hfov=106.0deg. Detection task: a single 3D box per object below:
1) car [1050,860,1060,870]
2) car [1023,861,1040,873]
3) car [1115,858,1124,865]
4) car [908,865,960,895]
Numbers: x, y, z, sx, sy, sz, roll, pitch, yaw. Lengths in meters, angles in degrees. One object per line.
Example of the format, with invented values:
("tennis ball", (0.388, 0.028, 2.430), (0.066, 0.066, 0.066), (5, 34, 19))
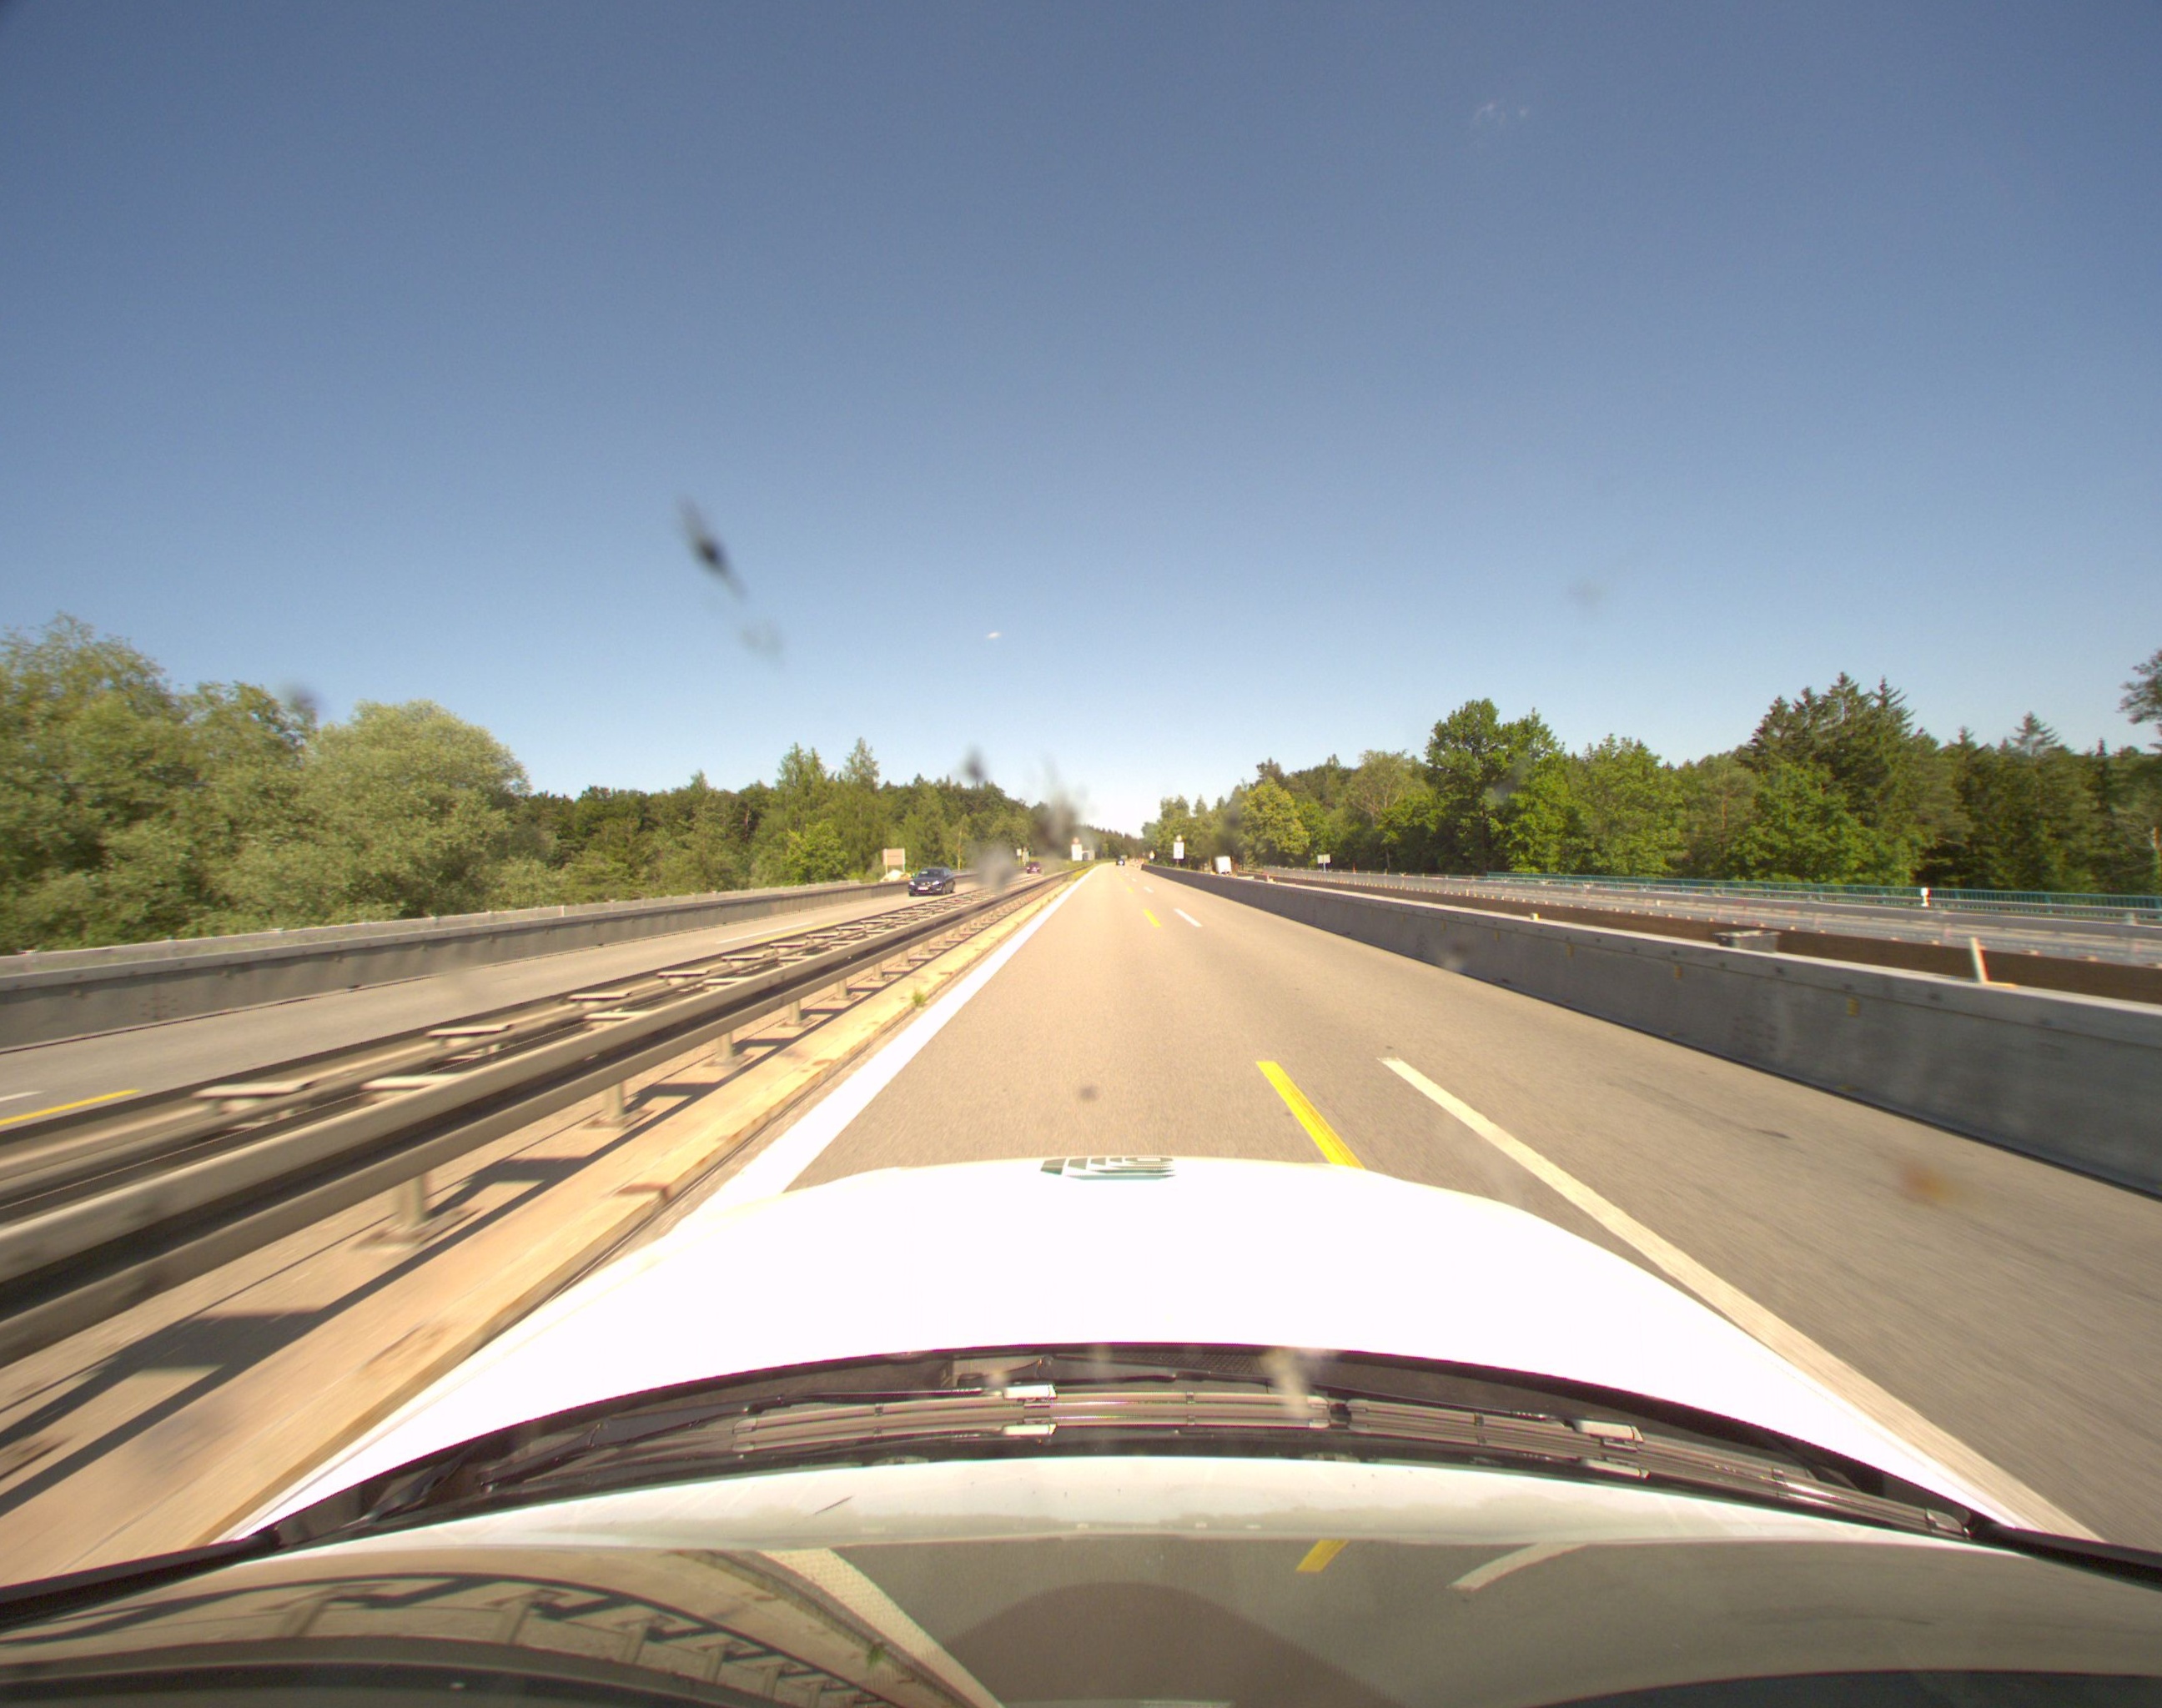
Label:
("car", (-4.854, 2.061, 149.822), (1.521, 1.562, 3.455), (-4, -3, 1))
("car", (-6.412, 1.696, 105.853), (1.737, 1.466, 4.295), (-2, 0, 1))
("car", (7.921, 1.550, 169.368), (1.737, 1.466, 4.295), (-2, 0, 2))
("car", (-7.859, 1.356, 44.007), (1.737, 1.466, 4.911), (-2, 0, 1))
